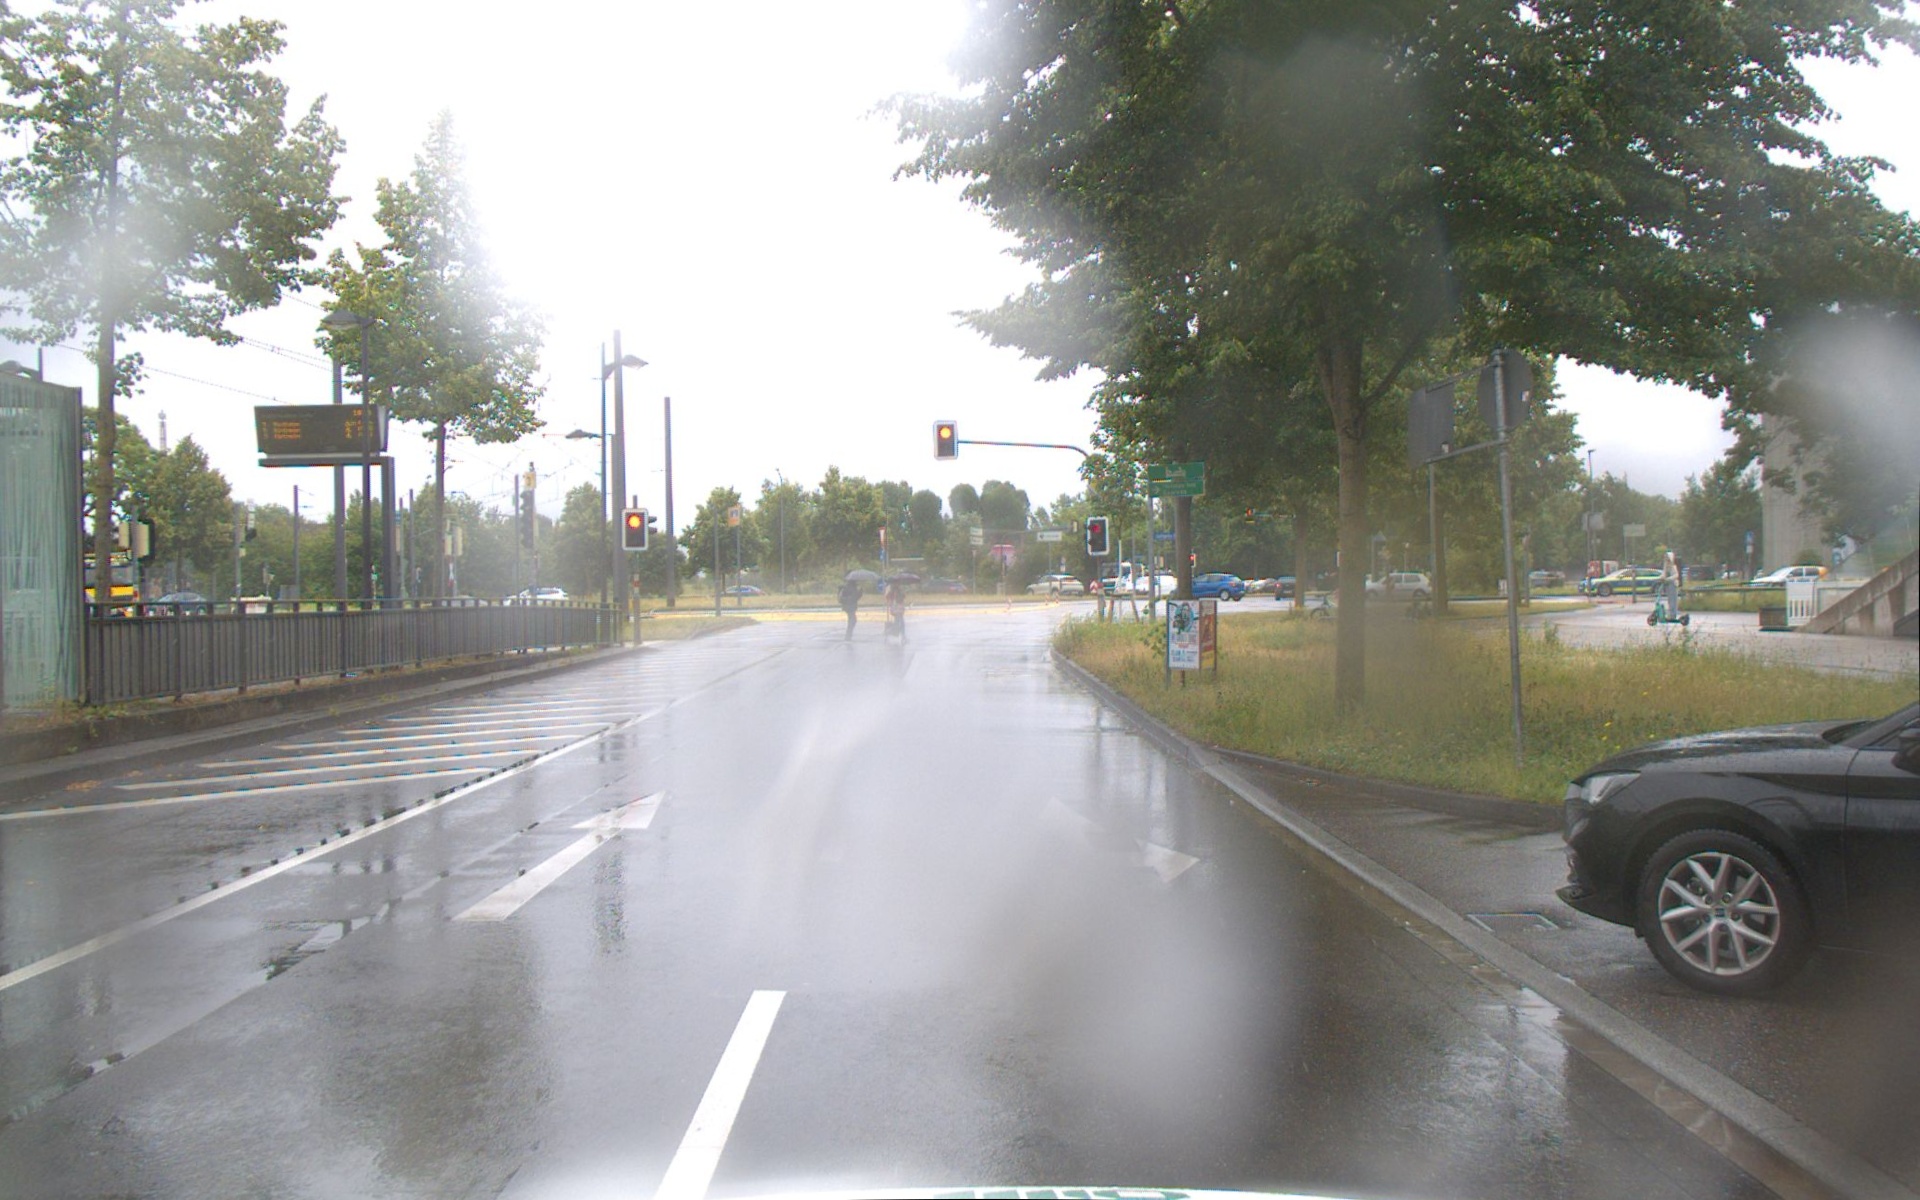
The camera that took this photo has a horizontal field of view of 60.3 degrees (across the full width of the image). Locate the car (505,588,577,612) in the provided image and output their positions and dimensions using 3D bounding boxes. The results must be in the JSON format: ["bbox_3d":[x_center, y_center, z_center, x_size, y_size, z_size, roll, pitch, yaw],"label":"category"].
[{"bbox_3d":[-27.993,-0.002,110.553,4.543,1.479,1.613,-1,1,-22],"label":"car"}]

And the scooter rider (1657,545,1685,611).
[{"bbox_3d":[18.800,-0.579,43.735,0.521,1.739,0.434,-2,0,-5],"label":"scooter rider"}]

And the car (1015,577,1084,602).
[{"bbox_3d":[5.410,-0.648,100.287,4.041,1.479,1.613,0,1,43],"label":"car"}]

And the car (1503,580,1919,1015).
[{"bbox_3d":[4.266,0.650,5.653,1.817,1.445,4.280,0,0,-41],"label":"car"}]

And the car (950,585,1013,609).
[{"bbox_3d":[1.387,-0.195,107.167,3.905,1.479,1.618,0,1,34],"label":"car"}]

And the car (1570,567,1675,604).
[{"bbox_3d":[34.518,-0.762,86.272,4.665,1.883,1.999,-1,1,-4],"label":"car"}]

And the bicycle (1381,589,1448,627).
[{"bbox_3d":[9.924,0.171,36.203,0.445,0.800,2.000,1,0,-16],"label":"bicycle"}]

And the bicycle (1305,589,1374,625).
[{"bbox_3d":[8.891,0.160,38.799,0.376,0.800,1.838,1,0,-33],"label":"bicycle"}]

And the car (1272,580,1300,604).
[{"bbox_3d":[20.736,-0.511,105.100,1.583,1.479,3.991,-1,1,13],"label":"car"}]

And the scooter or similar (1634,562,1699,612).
[{"bbox_3d":[18.687,-0.338,43.771,1.554,1.281,0.447,1,0,-6],"label":"scooter or similar"}]

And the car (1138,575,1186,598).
[{"bbox_3d":[16.143,-1.090,132.233,1.770,1.691,4.110,1,0,41],"label":"car"}]

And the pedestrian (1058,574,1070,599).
[{"bbox_3d":[5.590,-0.726,88.990,0.445,1.327,0.483,0,1,39],"label":"pedestrian"}]

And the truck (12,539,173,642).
[{"bbox_3d":[-34.377,-0.395,65.369,9.020,3.844,2.679,1,0,42],"label":"truck"}]

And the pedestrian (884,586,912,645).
[{"bbox_3d":[-1.582,0.395,42.187,0.666,1.486,0.573,-2,0,-4],"label":"pedestrian"}]

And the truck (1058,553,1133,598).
[{"bbox_3d":[8.948,-1.548,108.548,2.411,2.733,8.056,1,0,23],"label":"truck"}]

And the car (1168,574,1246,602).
[{"bbox_3d":[13.423,-0.651,89.961,3.909,1.479,1.617,0,1,38],"label":"car"}]

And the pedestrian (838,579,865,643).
[{"bbox_3d":[-2.689,0.261,40.995,0.608,1.549,0.741,1,0,-1],"label":"pedestrian"}]

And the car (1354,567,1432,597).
[{"bbox_3d":[22.765,-0.954,87.085,3.889,1.479,1.625,-1,1,11],"label":"car"}]
